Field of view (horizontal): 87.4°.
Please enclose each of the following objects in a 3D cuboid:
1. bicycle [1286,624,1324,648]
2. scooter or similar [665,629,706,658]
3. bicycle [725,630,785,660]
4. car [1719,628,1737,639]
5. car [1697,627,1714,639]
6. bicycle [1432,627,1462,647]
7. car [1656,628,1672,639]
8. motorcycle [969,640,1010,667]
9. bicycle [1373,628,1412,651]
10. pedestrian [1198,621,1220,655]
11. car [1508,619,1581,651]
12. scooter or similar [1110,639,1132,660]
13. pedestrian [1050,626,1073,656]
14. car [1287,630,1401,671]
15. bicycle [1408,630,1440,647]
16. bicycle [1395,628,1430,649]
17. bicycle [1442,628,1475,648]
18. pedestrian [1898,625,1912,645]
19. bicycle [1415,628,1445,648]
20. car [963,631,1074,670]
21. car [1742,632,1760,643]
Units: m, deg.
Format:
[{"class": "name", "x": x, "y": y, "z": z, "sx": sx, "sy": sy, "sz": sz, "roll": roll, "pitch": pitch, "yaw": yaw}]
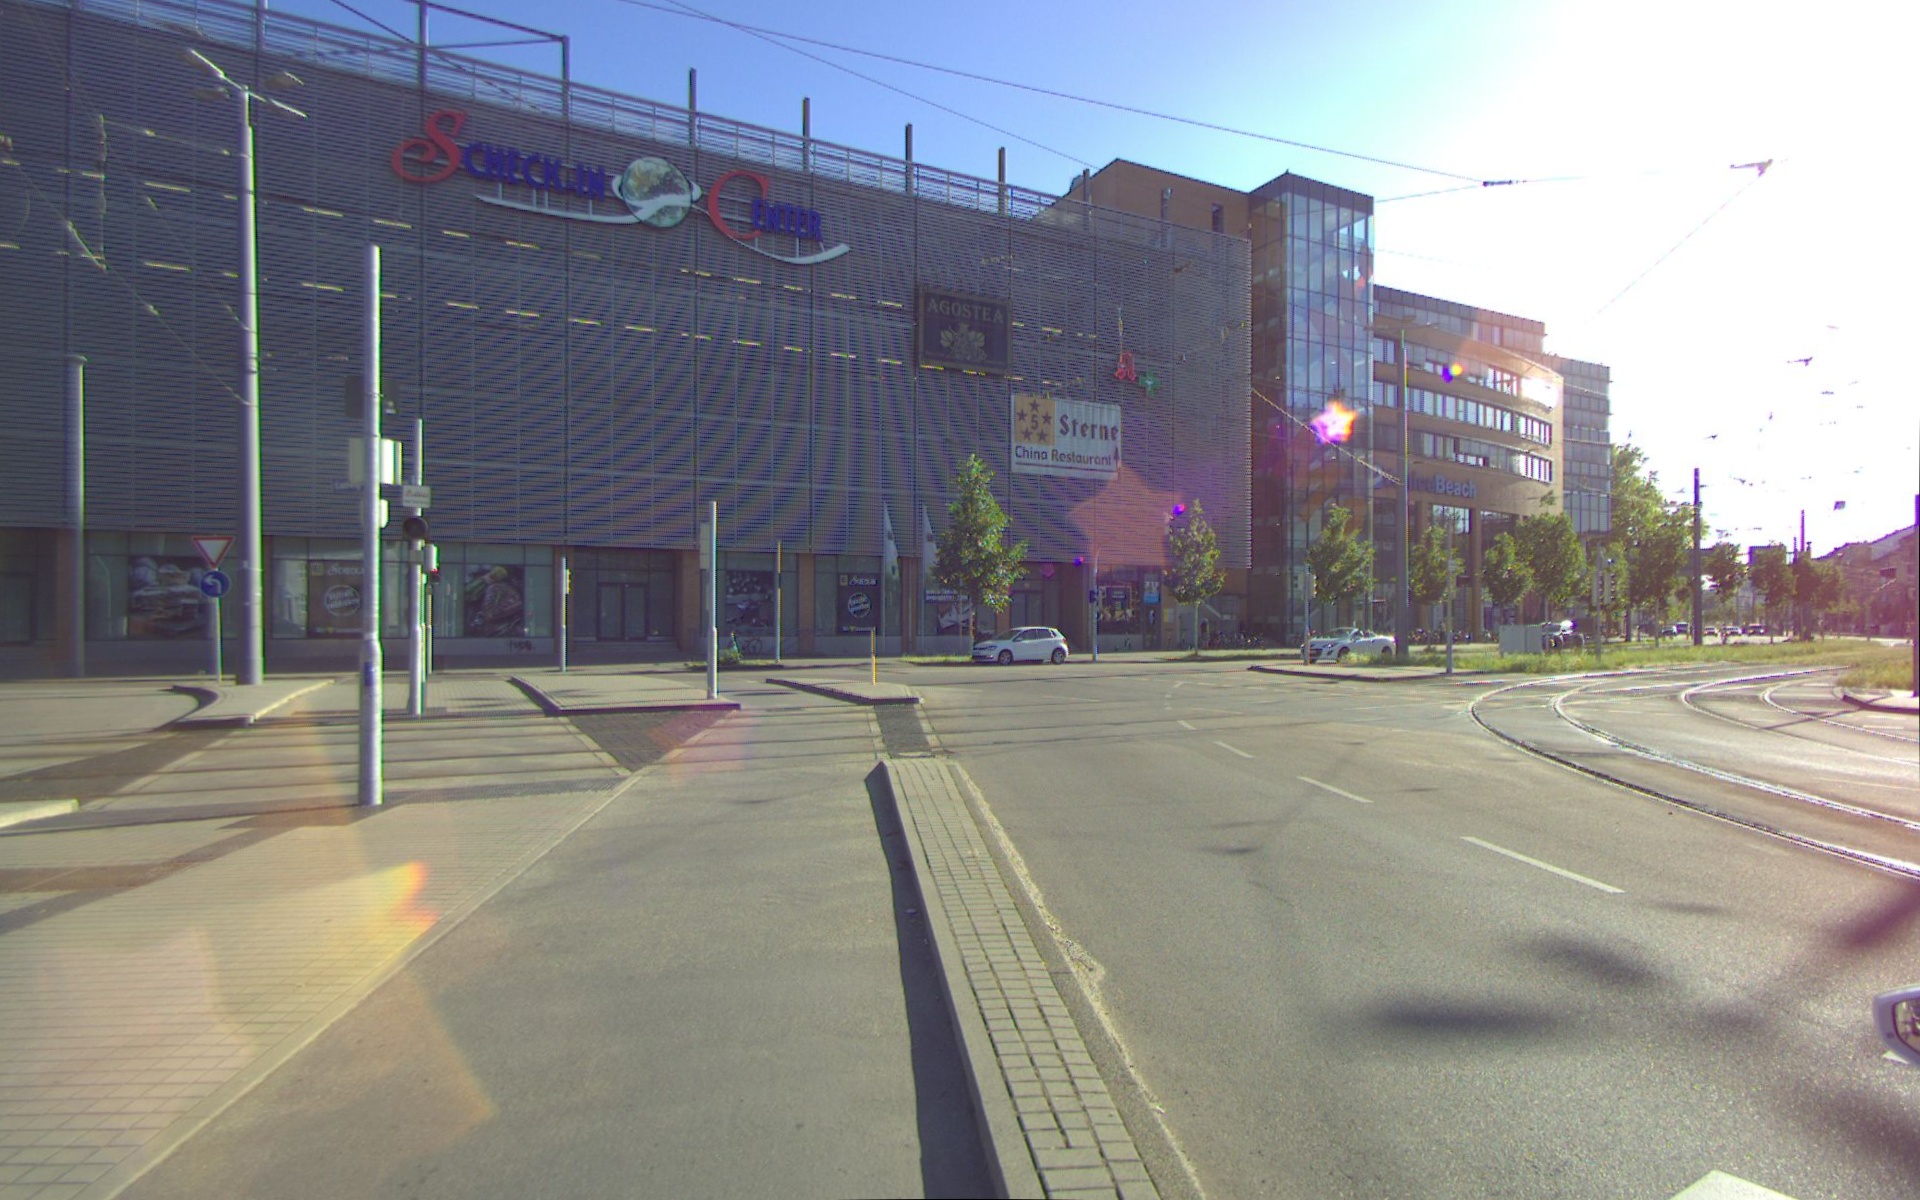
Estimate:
[{"class": "bicycle", "x": 21.323, "y": 2.212, "z": 62.175, "sx": 1.059, "sy": 1.452, "sz": 2.369, "roll": 1, "pitch": -2, "yaw": -18}, {"class": "scooter or similar", "x": -11.878, "y": 1.886, "z": 43.449, "sx": 1.554, "sy": 1.222, "sz": 0.791, "roll": 2, "pitch": -3, "yaw": -26}, {"class": "bicycle", "x": -8.755, "y": 1.902, "z": 42.952, "sx": 2.381, "sy": 1.237, "sz": 0.798, "roll": 1, "pitch": -1, "yaw": -24}, {"class": "car", "x": 117.883, "y": 5.126, "z": 154.155, "sx": 1.967, "sy": 1.706, "sz": 3.988, "roll": -1, "pitch": -2, "yaw": 34}, {"class": "car", "x": 115.927, "y": 5.133, "z": 156.173, "sx": 1.967, "sy": 1.706, "sz": 3.988, "roll": -1, "pitch": -2, "yaw": 34}, {"class": "bicycle", "x": 36.128, "y": 2.763, "z": 74.555, "sx": 0.747, "sy": 1.452, "sz": 2.137, "roll": 1, "pitch": -2, "yaw": -18}, {"class": "car", "x": 110.460, "y": 5.182, "z": 157.691, "sx": 1.967, "sy": 1.706, "sz": 3.988, "roll": -1, "pitch": -2, "yaw": 34}, {"class": "motorcycle", "x": 1.424, "y": 2.600, "z": 48.666, "sx": 1.870, "sy": 1.255, "sz": 0.673, "roll": 2, "pitch": -2, "yaw": -28}, {"class": "bicycle", "x": 28.440, "y": 2.614, "z": 66.067, "sx": 0.890, "sy": 1.452, "sz": 2.561, "roll": 1, "pitch": -2, "yaw": -18}, {"class": "pedestrian", "x": 14.030, "y": 2.137, "z": 56.528, "sx": 0.893, "sy": 1.848, "sz": 0.824, "roll": 2, "pitch": -3, "yaw": -25}, {"class": "car", "x": 32.530, "y": 1.941, "z": 55.881, "sx": 4.370, "sy": 1.661, "sz": 1.979, "roll": 1, "pitch": -1, "yaw": -37}, {"class": "scooter or similar", "x": 8.659, "y": 2.667, "z": 53.984, "sx": 1.137, "sy": 1.124, "sz": 0.419, "roll": 2, "pitch": -3, "yaw": -27}, {"class": "pedestrian", "x": 5.441, "y": 2.185, "z": 53.744, "sx": 0.818, "sy": 1.586, "sz": 0.984, "roll": 2, "pitch": -3, "yaw": -27}, {"class": "car", "x": 15.520, "y": 1.993, "z": 40.554, "sx": 4.477, "sy": 1.566, "sz": 1.984, "roll": 1, "pitch": -1, "yaw": -31}, {"class": "bicycle", "x": 33.709, "y": 2.786, "z": 73.006, "sx": 0.733, "sy": 1.252, "sz": 2.413, "roll": 1, "pitch": -2, "yaw": -18}, {"class": "bicycle", "x": 32.529, "y": 2.769, "z": 72.208, "sx": 0.759, "sy": 1.452, "sz": 2.606, "roll": 1, "pitch": -2, "yaw": -18}, {"class": "bicycle", "x": 37.212, "y": 2.801, "z": 74.973, "sx": 0.776, "sy": 1.452, "sz": 2.419, "roll": 1, "pitch": -2, "yaw": -18}, {"class": "pedestrian", "x": 88.428, "y": 3.257, "z": 94.023, "sx": 0.823, "sy": 1.848, "sz": 0.893, "roll": 3, "pitch": -3, "yaw": -43}, {"class": "bicycle", "x": 34.390, "y": 2.802, "z": 73.523, "sx": 0.707, "sy": 1.452, "sz": 2.244, "roll": 1, "pitch": -2, "yaw": -18}, {"class": "car", "x": 2.276, "y": 1.926, "z": 39.024, "sx": 3.950, "sy": 1.425, "sz": 1.887, "roll": 1, "pitch": -2, "yaw": -28}, {"class": "car", "x": 122.211, "y": 5.826, "z": 155.233, "sx": 1.967, "sy": 1.706, "sz": 3.988, "roll": -1, "pitch": -2, "yaw": 34}]
